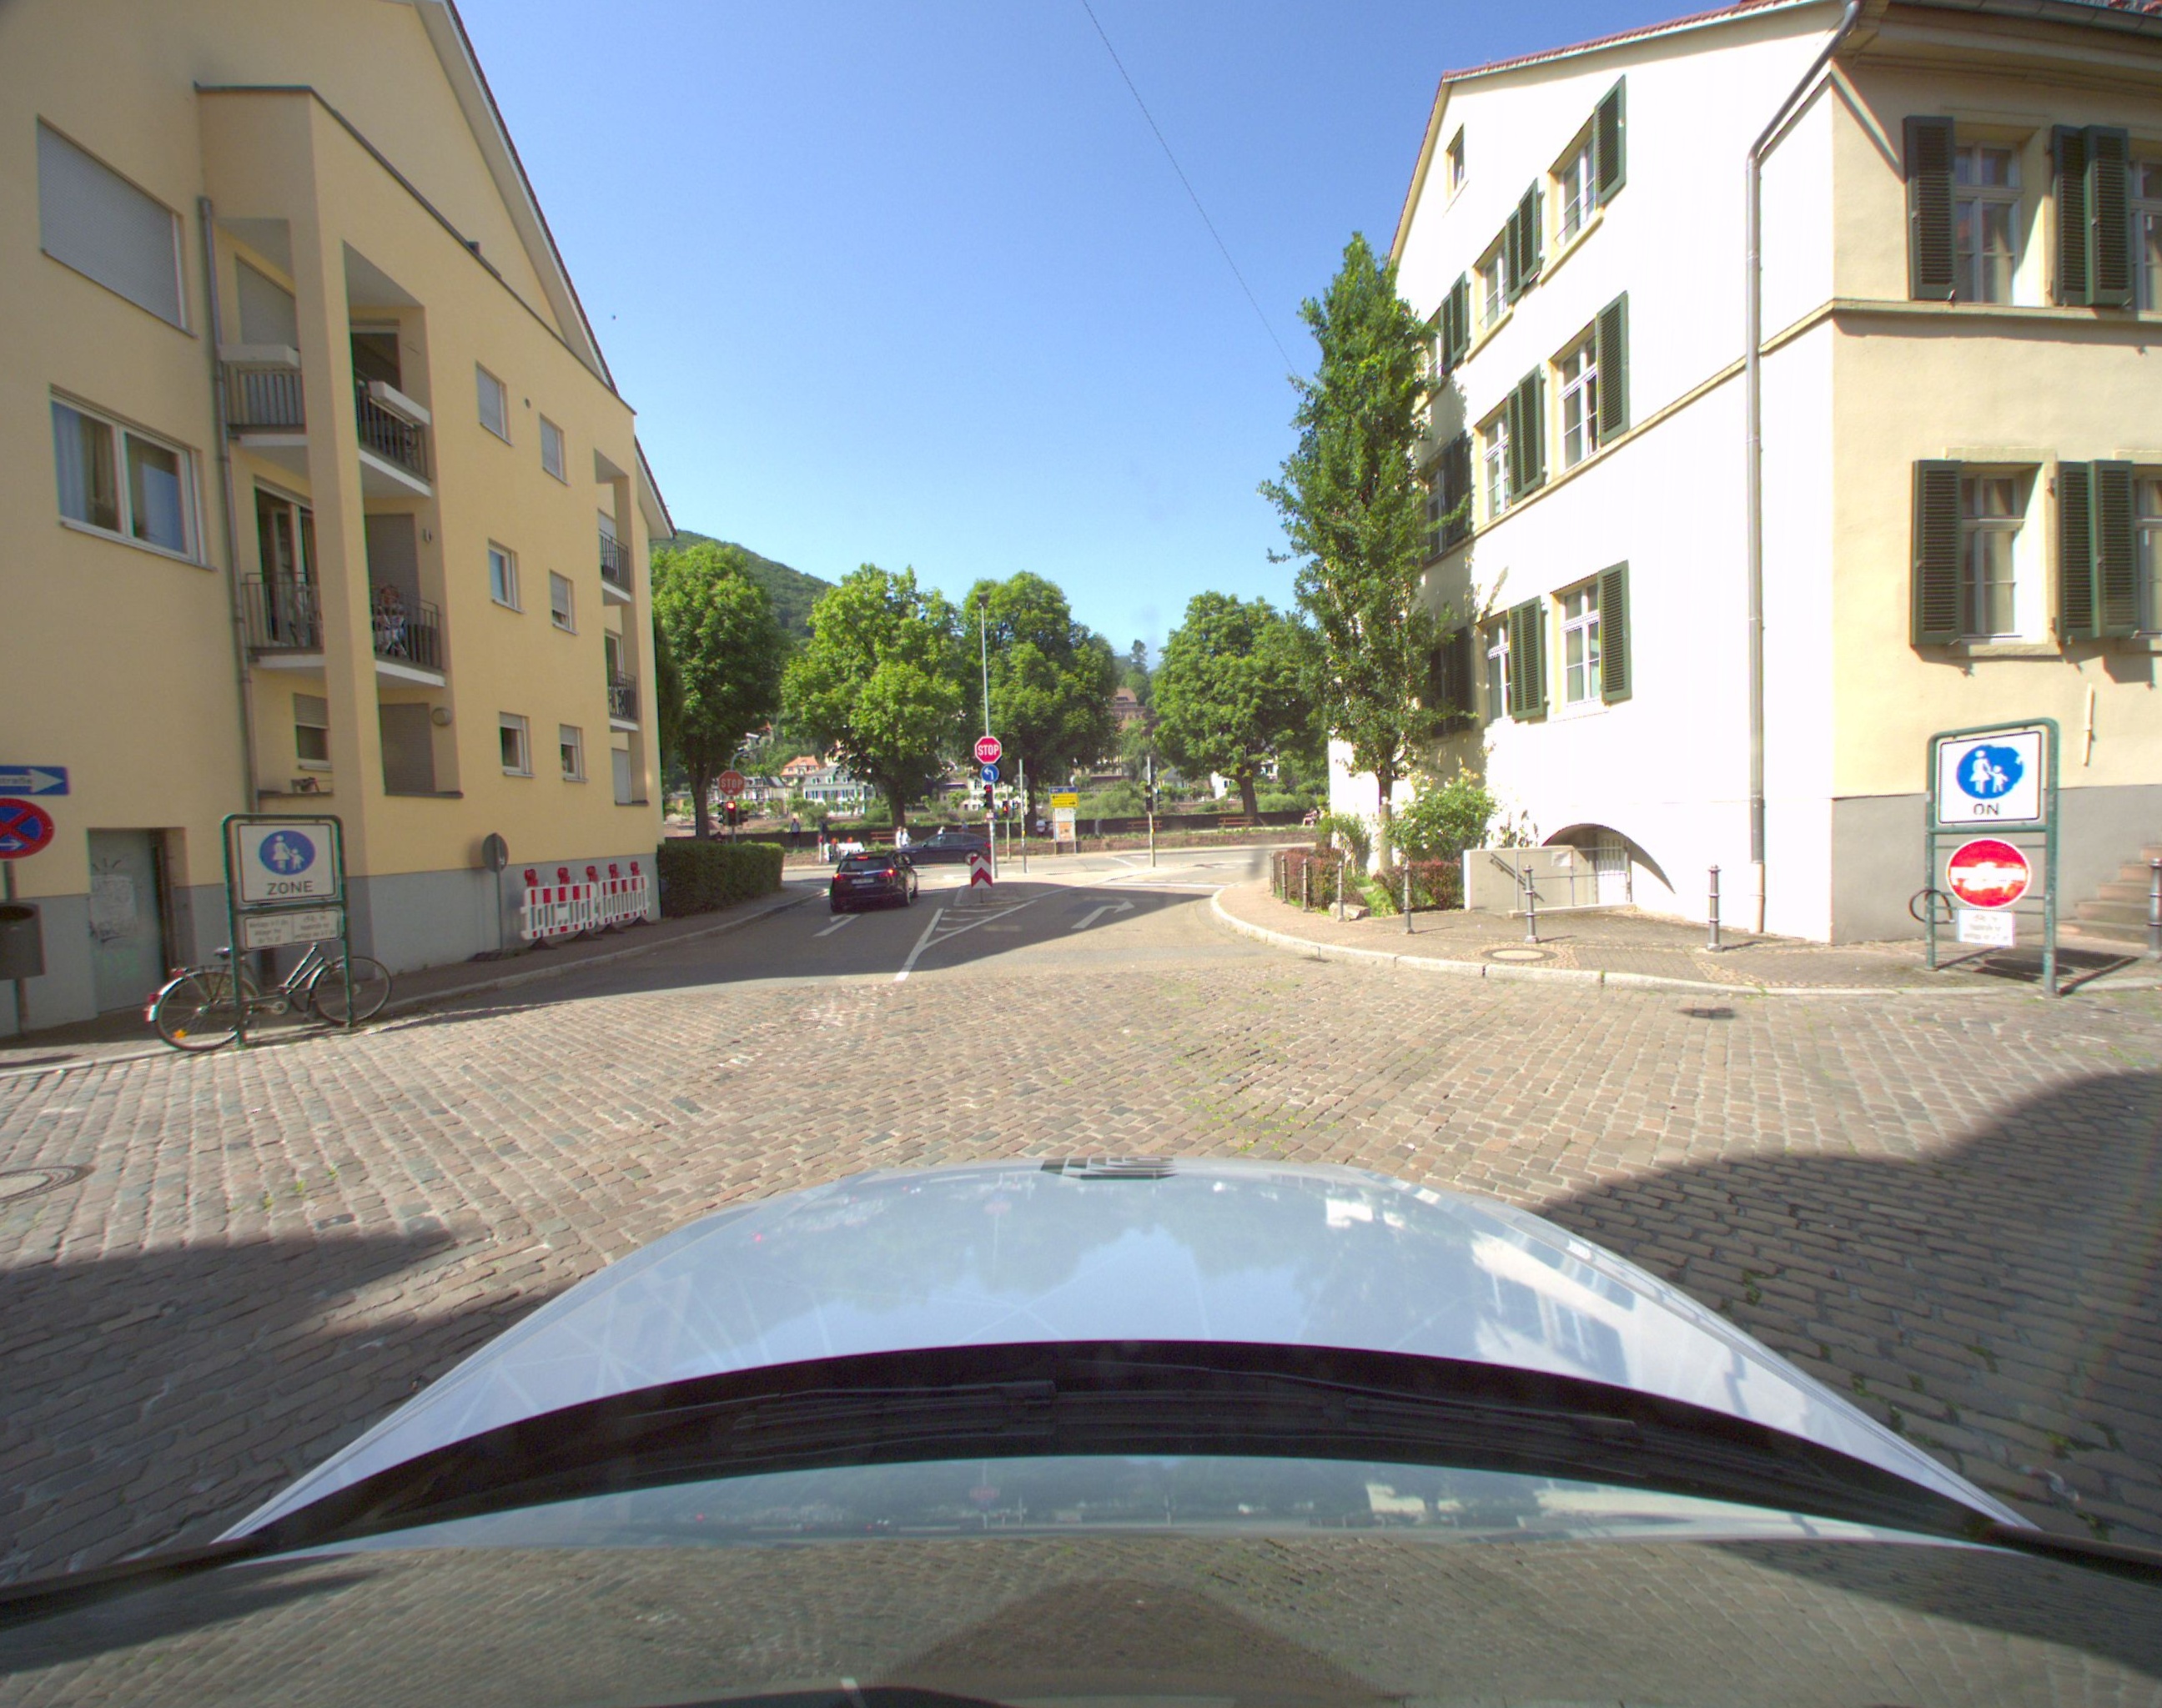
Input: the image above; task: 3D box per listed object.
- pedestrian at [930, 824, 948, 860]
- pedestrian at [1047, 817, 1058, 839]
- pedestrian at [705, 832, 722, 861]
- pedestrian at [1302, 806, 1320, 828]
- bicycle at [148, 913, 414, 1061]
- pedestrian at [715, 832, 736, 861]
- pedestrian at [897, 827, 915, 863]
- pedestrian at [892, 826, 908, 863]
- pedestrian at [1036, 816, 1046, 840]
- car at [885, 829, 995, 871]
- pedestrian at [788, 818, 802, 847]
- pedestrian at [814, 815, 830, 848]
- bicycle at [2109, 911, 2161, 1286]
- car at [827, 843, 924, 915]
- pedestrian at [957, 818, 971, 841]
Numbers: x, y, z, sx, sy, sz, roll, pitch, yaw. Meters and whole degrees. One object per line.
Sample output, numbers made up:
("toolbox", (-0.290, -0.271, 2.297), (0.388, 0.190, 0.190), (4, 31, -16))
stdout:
("pedestrian", (-7.256, -0.630, 41.599), (0.686, 1.769, 0.717), (-3, 1, -1))
("pedestrian", (-1.616, -1.451, 45.975), (0.552, 1.228, 0.984), (0, -1, -6))
("pedestrian", (-19.617, -0.395, 43.449), (0.466, 1.493, 0.804), (-2, 2, -2))
("pedestrian", (13.476, -2.170, 47.726), (0.796, 1.211, 0.714), (0, -1, -3))
("bicycle", (-7.775, 1.232, 8.064), (0.388, 1.079, 1.917), (-2, 2, 13))
("pedestrian", (-19.085, -0.405, 43.737), (0.466, 1.479, 1.384), (-2, 2, -2))
("pedestrian", (-8.972, -0.456, 41.703), (0.720, 1.801, 0.633), (-3, 1, -4))
("pedestrian", (-8.979, -0.480, 40.365), (0.577, 1.801, 0.704), (-3, 1, -3))
("pedestrian", (-2.240, -1.465, 45.735), (0.551, 1.279, 0.703), (0, -1, -3))
("car", (-6.432, -0.202, 37.399), (4.762, 1.517, 1.900), (-4, 1, -9))
("pedestrian", (-17.224, -1.311, 49.019), (0.709, 1.731, 0.752), (-2, 1, -17))
("pedestrian", (-14.893, -1.276, 46.810), (0.766, 1.857, 0.751), (-2, 1, -24))
("bicycle", (4.152, 0.784, 2.134), (0.508, 1.146, 1.772), (-4, 2, -40))
("car", (-5.216, 0.544, 21.247), (1.712, 1.461, 4.714), (-4, 2, -6))
("pedestrian", (-6.451, -1.346, 45.047), (0.643, 1.228, 0.412), (-4, 1, -18))
